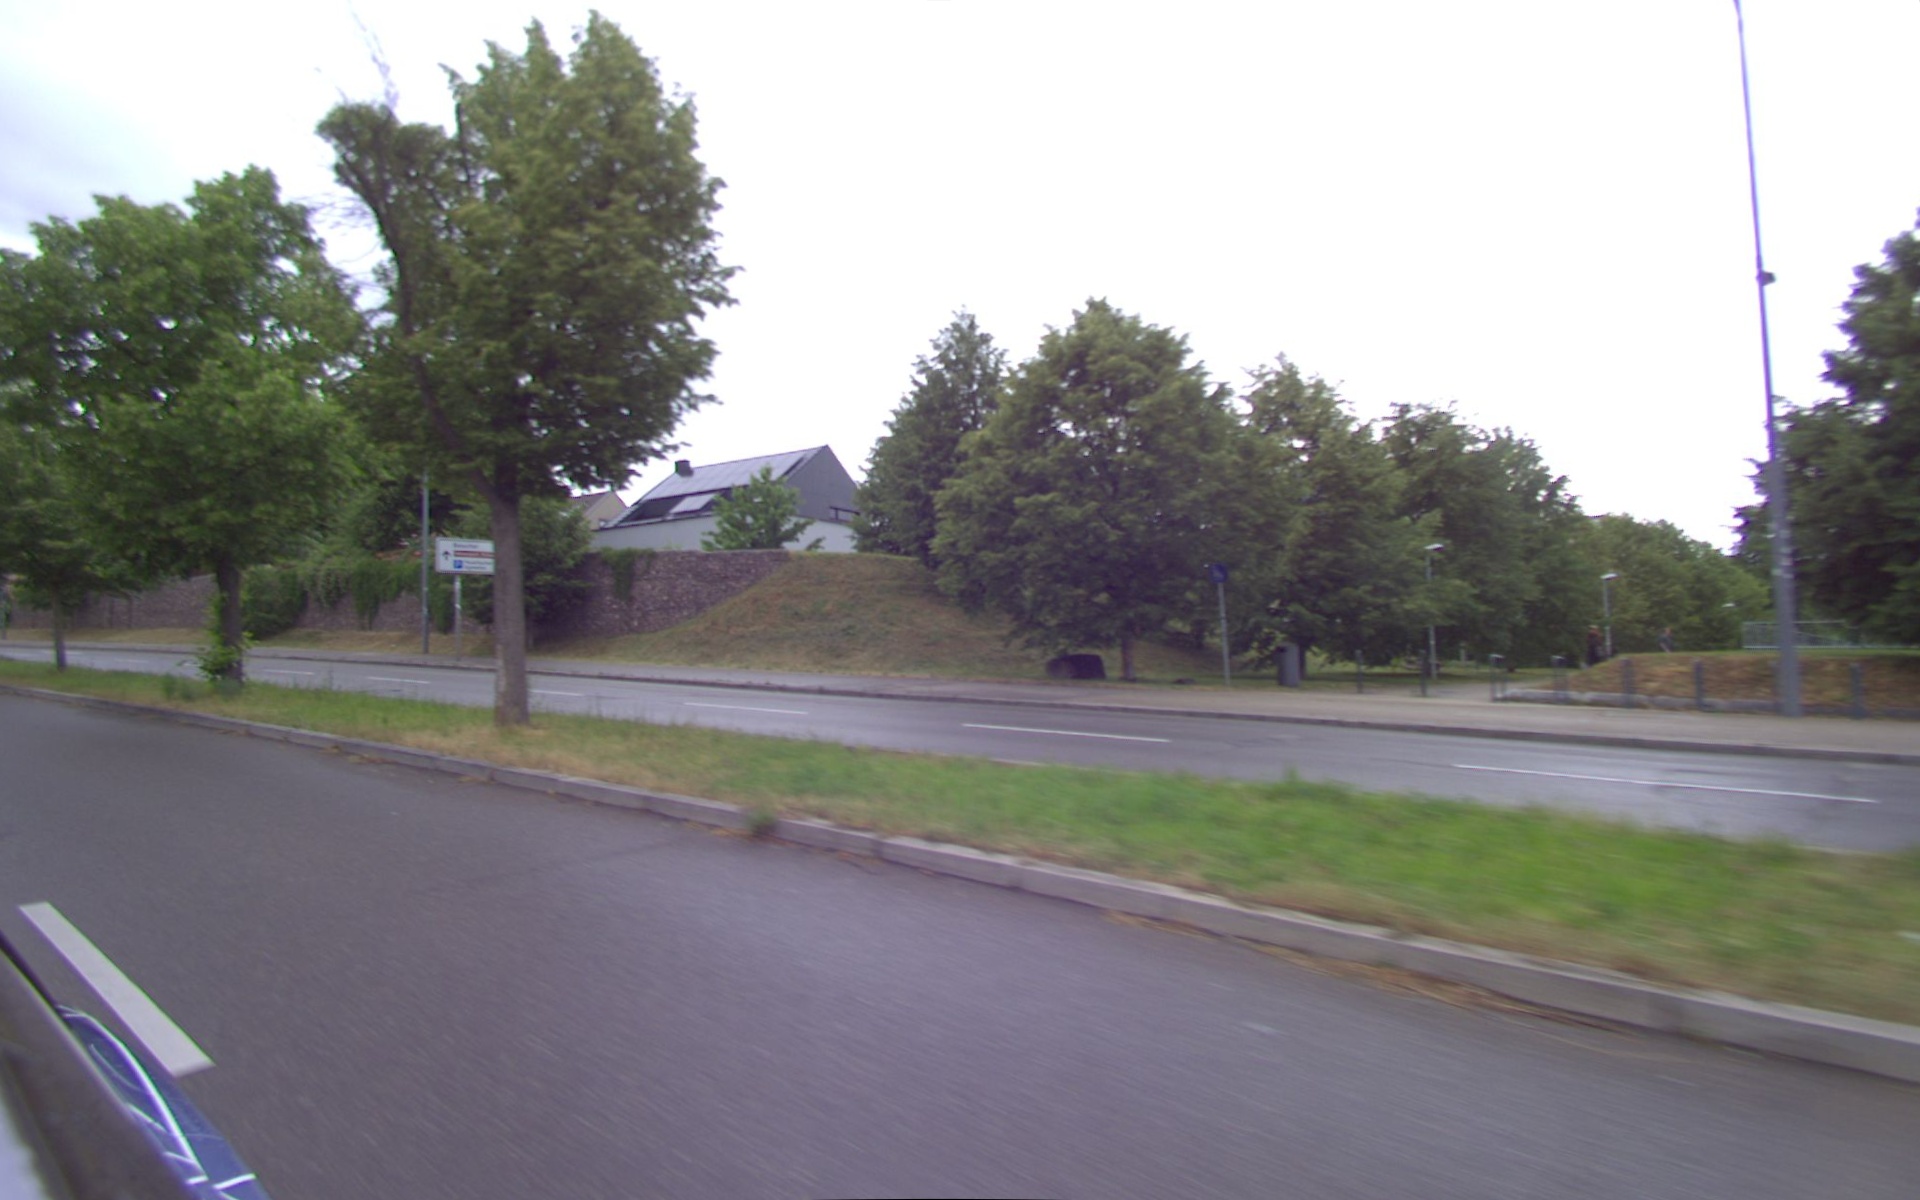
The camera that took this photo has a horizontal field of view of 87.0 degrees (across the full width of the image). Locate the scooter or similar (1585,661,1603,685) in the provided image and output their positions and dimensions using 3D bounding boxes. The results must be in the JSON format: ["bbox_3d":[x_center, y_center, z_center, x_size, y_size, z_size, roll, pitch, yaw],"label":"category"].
[{"bbox_3d":[17.175,1.971,27.411,0.358,0.602,0.386,0,-1,42],"label":"scooter or similar"}]

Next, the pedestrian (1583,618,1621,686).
[{"bbox_3d":[17.031,1.362,26.857,0.755,1.741,0.638,0,-1,42],"label":"pedestrian"}]

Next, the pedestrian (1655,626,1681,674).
[{"bbox_3d":[26.034,1.828,37.221,0.744,1.741,0.648,1,-1,-43],"label":"pedestrian"}]
